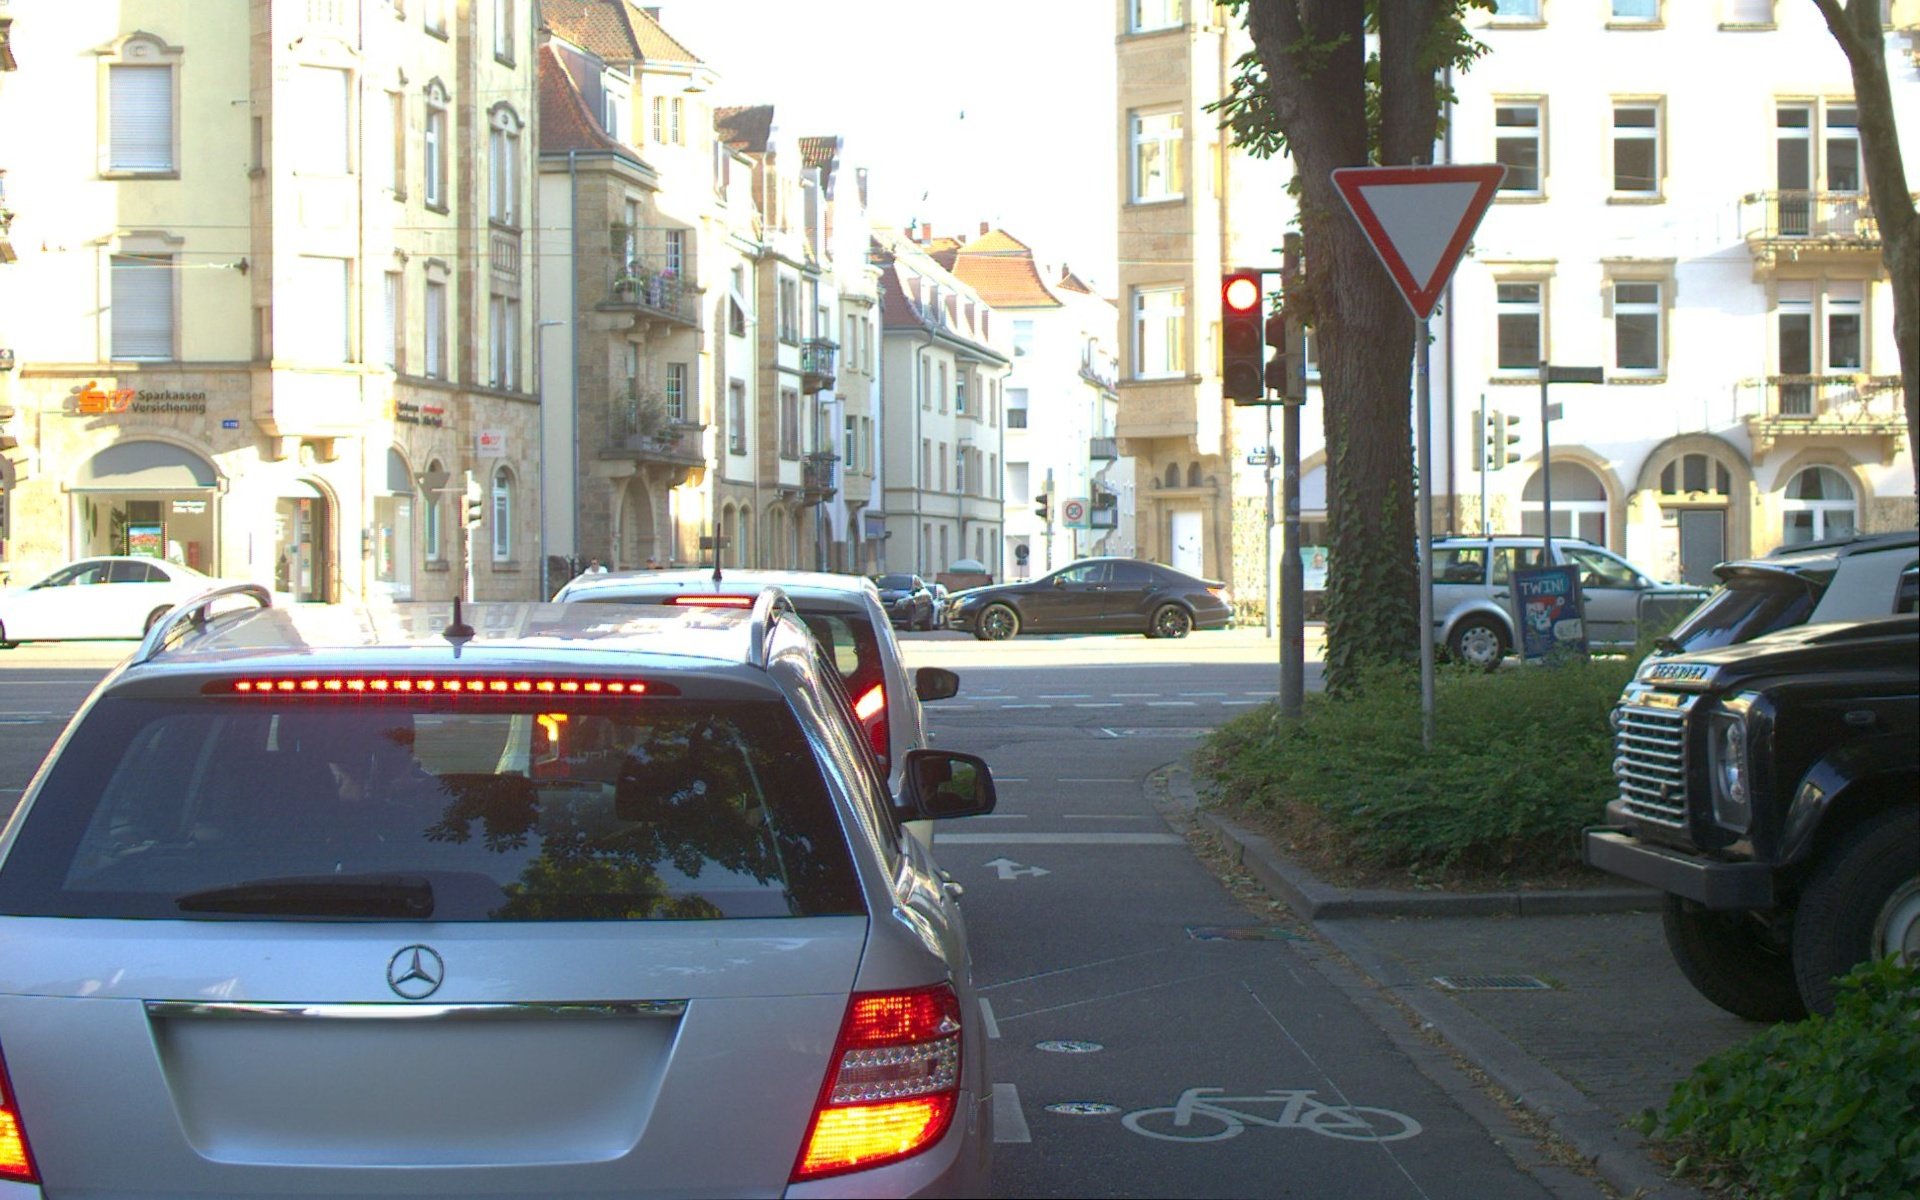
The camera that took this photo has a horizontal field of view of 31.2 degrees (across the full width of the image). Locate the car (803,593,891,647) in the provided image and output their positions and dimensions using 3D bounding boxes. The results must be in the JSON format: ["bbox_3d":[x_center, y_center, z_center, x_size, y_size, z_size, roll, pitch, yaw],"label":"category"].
[{"bbox_3d":[-3.161,0.545,97.036,1.835,1.397,3.999,0,1,8],"label":"car"}]

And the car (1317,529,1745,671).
[{"bbox_3d":[6.235,-0.020,37.764,4.344,1.491,1.662,0,1,-7],"label":"car"}]

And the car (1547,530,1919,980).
[{"bbox_3d":[4.291,0.507,13.086,3.723,1.564,1.709,-1,0,-4],"label":"car"}]

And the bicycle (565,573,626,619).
[{"bbox_3d":[-7.770,-0.097,73.381,0.771,0.936,1.939,1,1,11],"label":"bicycle"}]

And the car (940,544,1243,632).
[{"bbox_3d":[2.157,-0.215,57.309,4.883,1.447,1.859,0,1,-4],"label":"car"}]

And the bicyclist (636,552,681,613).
[{"bbox_3d":[-6.445,-0.380,73.465,0.771,1.285,0.752,1,1,11],"label":"bicyclist"}]

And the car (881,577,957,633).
[{"bbox_3d":[-1.282,0.144,108.756,1.835,1.657,3.999,0,1,8],"label":"car"}]

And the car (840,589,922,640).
[{"bbox_3d":[-2.327,0.418,102.527,1.835,1.397,3.999,0,1,8],"label":"car"}]

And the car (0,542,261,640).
[{"bbox_3d":[-13.291,-0.147,53.115,4.702,1.455,1.837,0,1,-6],"label":"car"}]

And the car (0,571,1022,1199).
[{"bbox_3d":[-0.897,0.683,6.956,1.777,1.447,4.548,0,1,-2],"label":"car"}]

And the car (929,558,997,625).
[{"bbox_3d":[0.127,-0.325,117.345,1.787,2.196,3.999,0,1,8],"label":"car"}]

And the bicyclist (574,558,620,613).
[{"bbox_3d":[-7.752,-0.319,73.455,0.771,1.152,0.752,1,1,11],"label":"bicyclist"}]

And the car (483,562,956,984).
[{"bbox_3d":[-0.914,0.574,14.046,1.619,1.442,4.345,0,1,-2],"label":"car"}]

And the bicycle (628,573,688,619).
[{"bbox_3d":[-6.447,-0.087,73.469,0.771,0.931,1.939,1,1,11],"label":"bicycle"}]

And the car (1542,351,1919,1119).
[{"bbox_3d":[4.136,0.306,10.117,4.465,2.029,1.701,-1,0,-3],"label":"car"}]
